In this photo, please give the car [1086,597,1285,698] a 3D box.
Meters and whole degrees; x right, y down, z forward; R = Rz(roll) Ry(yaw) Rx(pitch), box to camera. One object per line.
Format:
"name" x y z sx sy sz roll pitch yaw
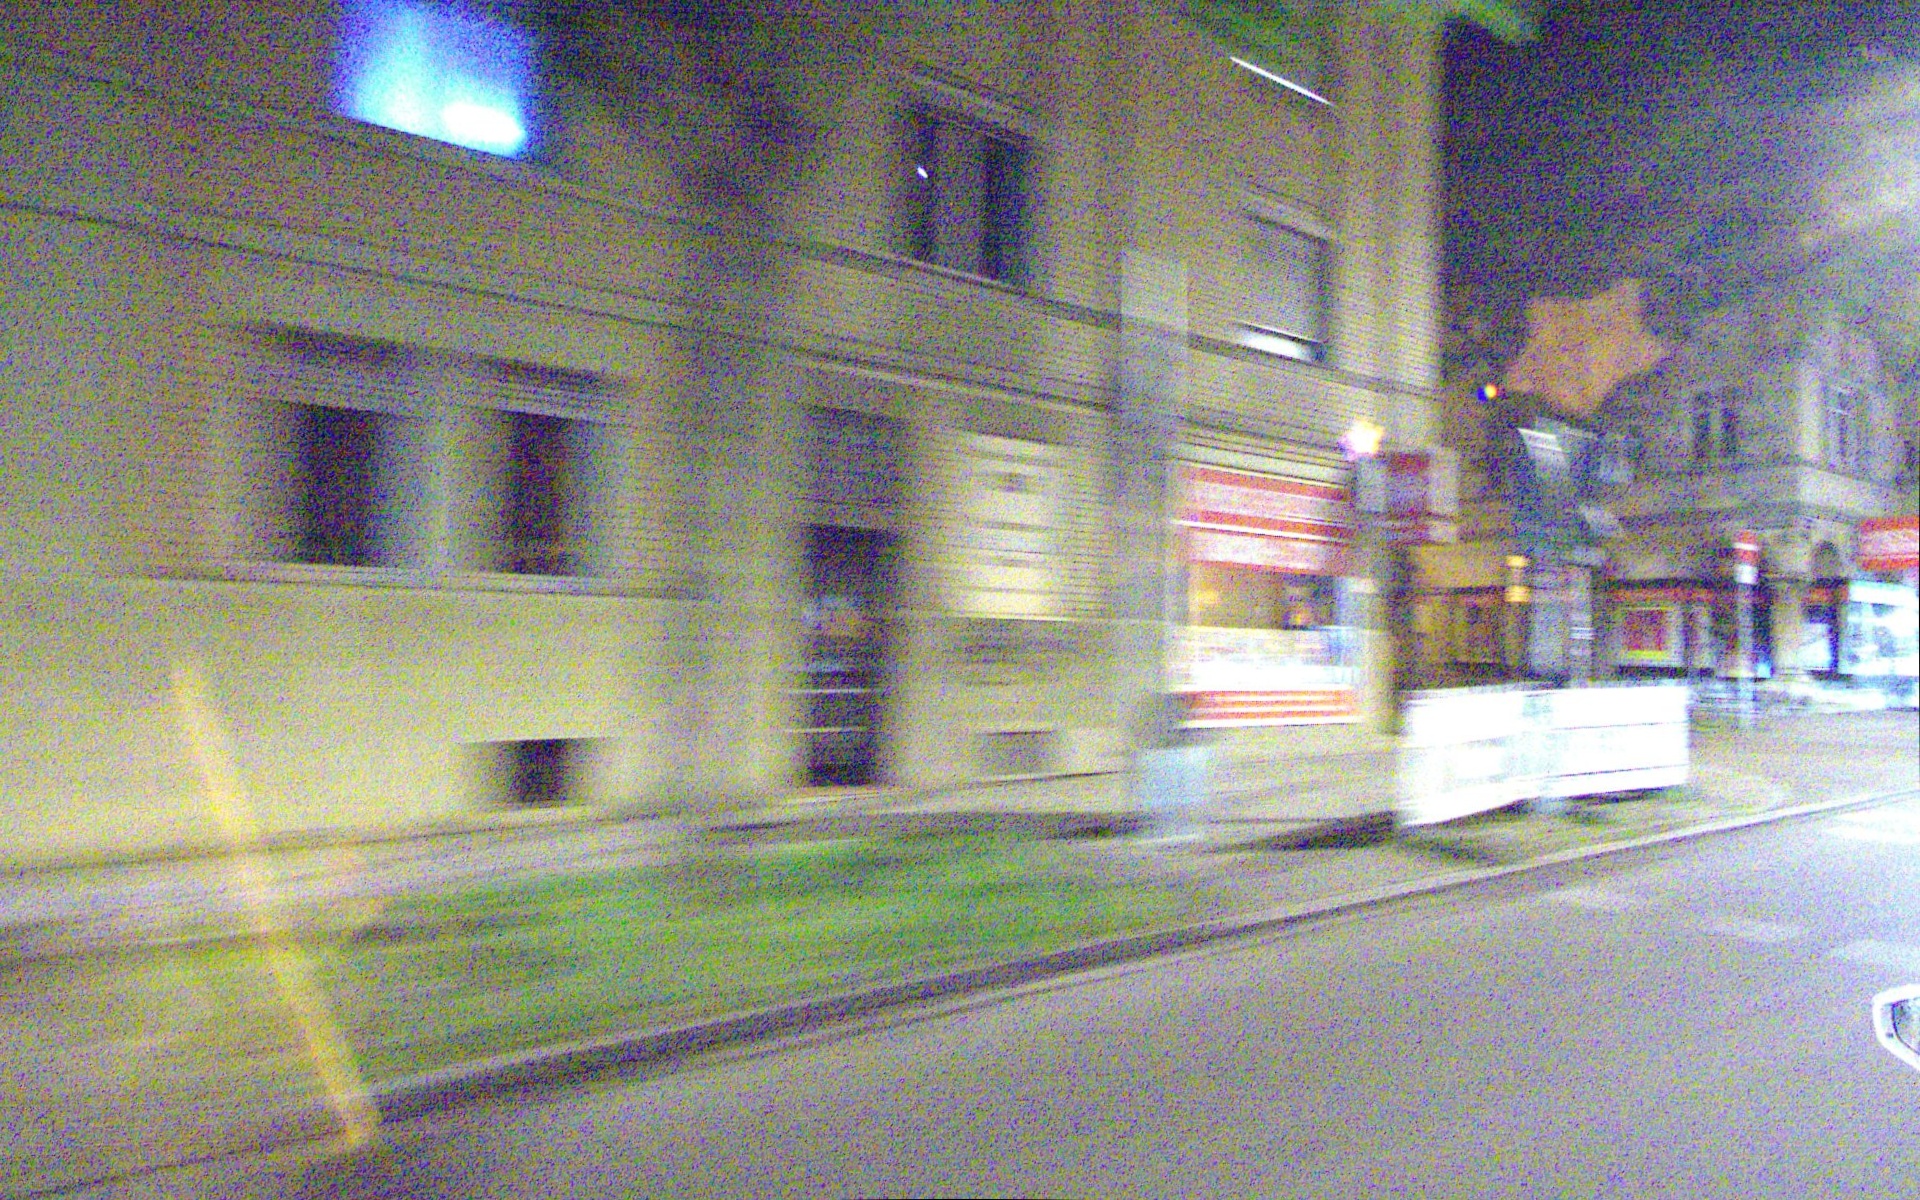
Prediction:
"car" 6.424 1.349 29.377 2.222 2.577 5.816 4 -3 -31
